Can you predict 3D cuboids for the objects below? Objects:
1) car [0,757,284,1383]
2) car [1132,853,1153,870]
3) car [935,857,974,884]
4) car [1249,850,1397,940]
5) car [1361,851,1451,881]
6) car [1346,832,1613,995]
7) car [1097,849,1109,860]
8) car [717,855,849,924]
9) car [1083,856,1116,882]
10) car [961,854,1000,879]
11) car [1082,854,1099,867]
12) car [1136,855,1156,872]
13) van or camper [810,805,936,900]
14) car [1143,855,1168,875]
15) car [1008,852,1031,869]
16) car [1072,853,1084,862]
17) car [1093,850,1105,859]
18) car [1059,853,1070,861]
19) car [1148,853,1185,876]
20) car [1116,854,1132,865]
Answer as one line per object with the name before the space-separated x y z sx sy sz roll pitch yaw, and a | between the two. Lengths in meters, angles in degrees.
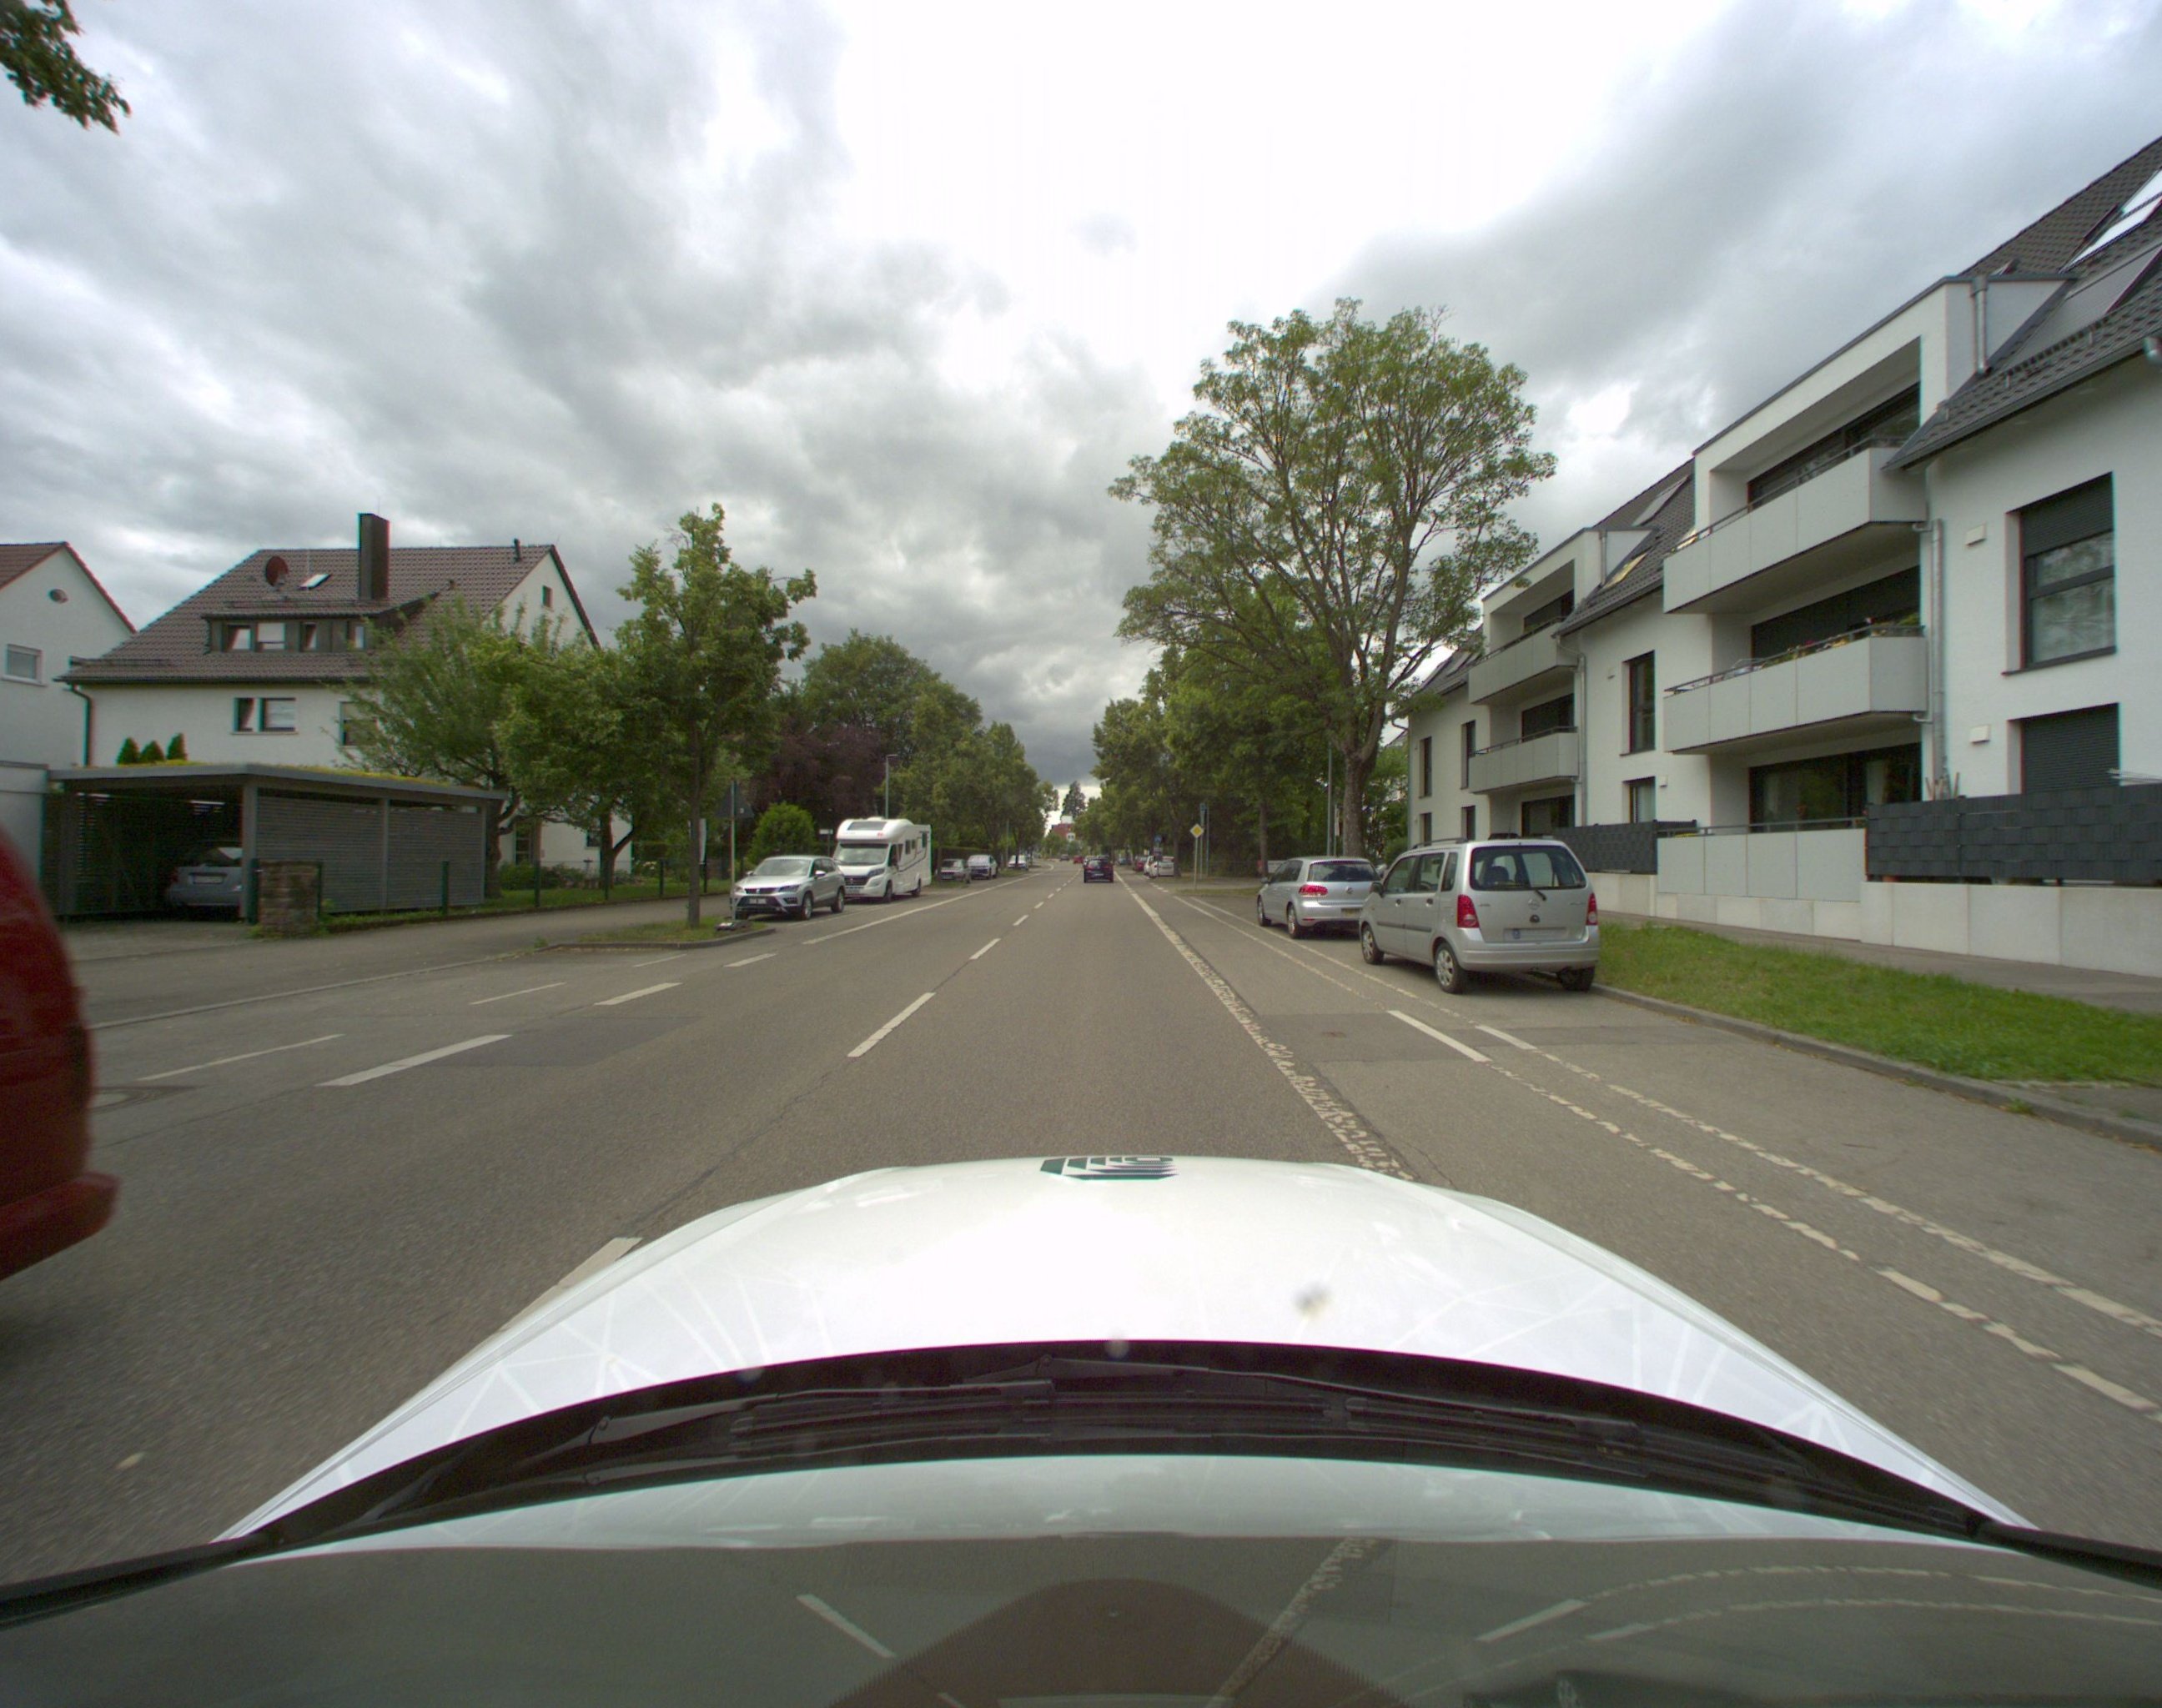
car | -4.029 0.626 0.785 1.754 1.803 4.770 0 0 1
car | 5.962 0.745 79.516 1.633 1.615 4.167 0 0 -1
car | -7.086 0.902 45.943 1.550 1.470 4.451 0 0 0
car | 4.527 0.703 15.905 1.681 1.493 4.227 -1 0 1
car | 16.806 0.597 42.205 3.978 1.459 1.792 0 1 -3
car | 4.685 0.615 10.184 1.626 1.665 3.649 0 0 1
car | 3.675 0.101 136.574 1.785 1.772 3.977 0 0 -4
car | -7.496 0.820 20.961 1.716 1.600 4.274 0 0 2
car | 1.072 0.859 47.791 1.778 1.449 3.556 0 0 -1
car | -6.810 0.815 55.733 1.809 1.652 4.702 0 0 3
car | 1.098 0.780 96.598 1.987 1.558 3.999 -1 -1 0
car | 5.882 0.840 74.037 1.631 1.420 4.003 -1 0 3
van or camper | -7.365 -0.039 29.984 2.426 3.009 7.695 0 0 1
car | 5.655 0.790 62.141 1.610 1.460 3.658 -1 0 1
car | -6.250 0.619 83.137 1.867 1.688 4.866 -1 0 1
car | -0.464 0.591 132.943 1.987 1.530 3.999 0 0 -1
car | 3.098 0.072 142.395 1.683 1.449 3.572 0 0 -5
car | -3.371 0.638 167.014 1.989 1.508 3.994 0 -1 -4
car | 5.590 0.687 53.704 2.013 1.443 5.027 0 0 2
car | 5.694 0.660 109.056 1.680 1.432 4.038 0 0 -4
